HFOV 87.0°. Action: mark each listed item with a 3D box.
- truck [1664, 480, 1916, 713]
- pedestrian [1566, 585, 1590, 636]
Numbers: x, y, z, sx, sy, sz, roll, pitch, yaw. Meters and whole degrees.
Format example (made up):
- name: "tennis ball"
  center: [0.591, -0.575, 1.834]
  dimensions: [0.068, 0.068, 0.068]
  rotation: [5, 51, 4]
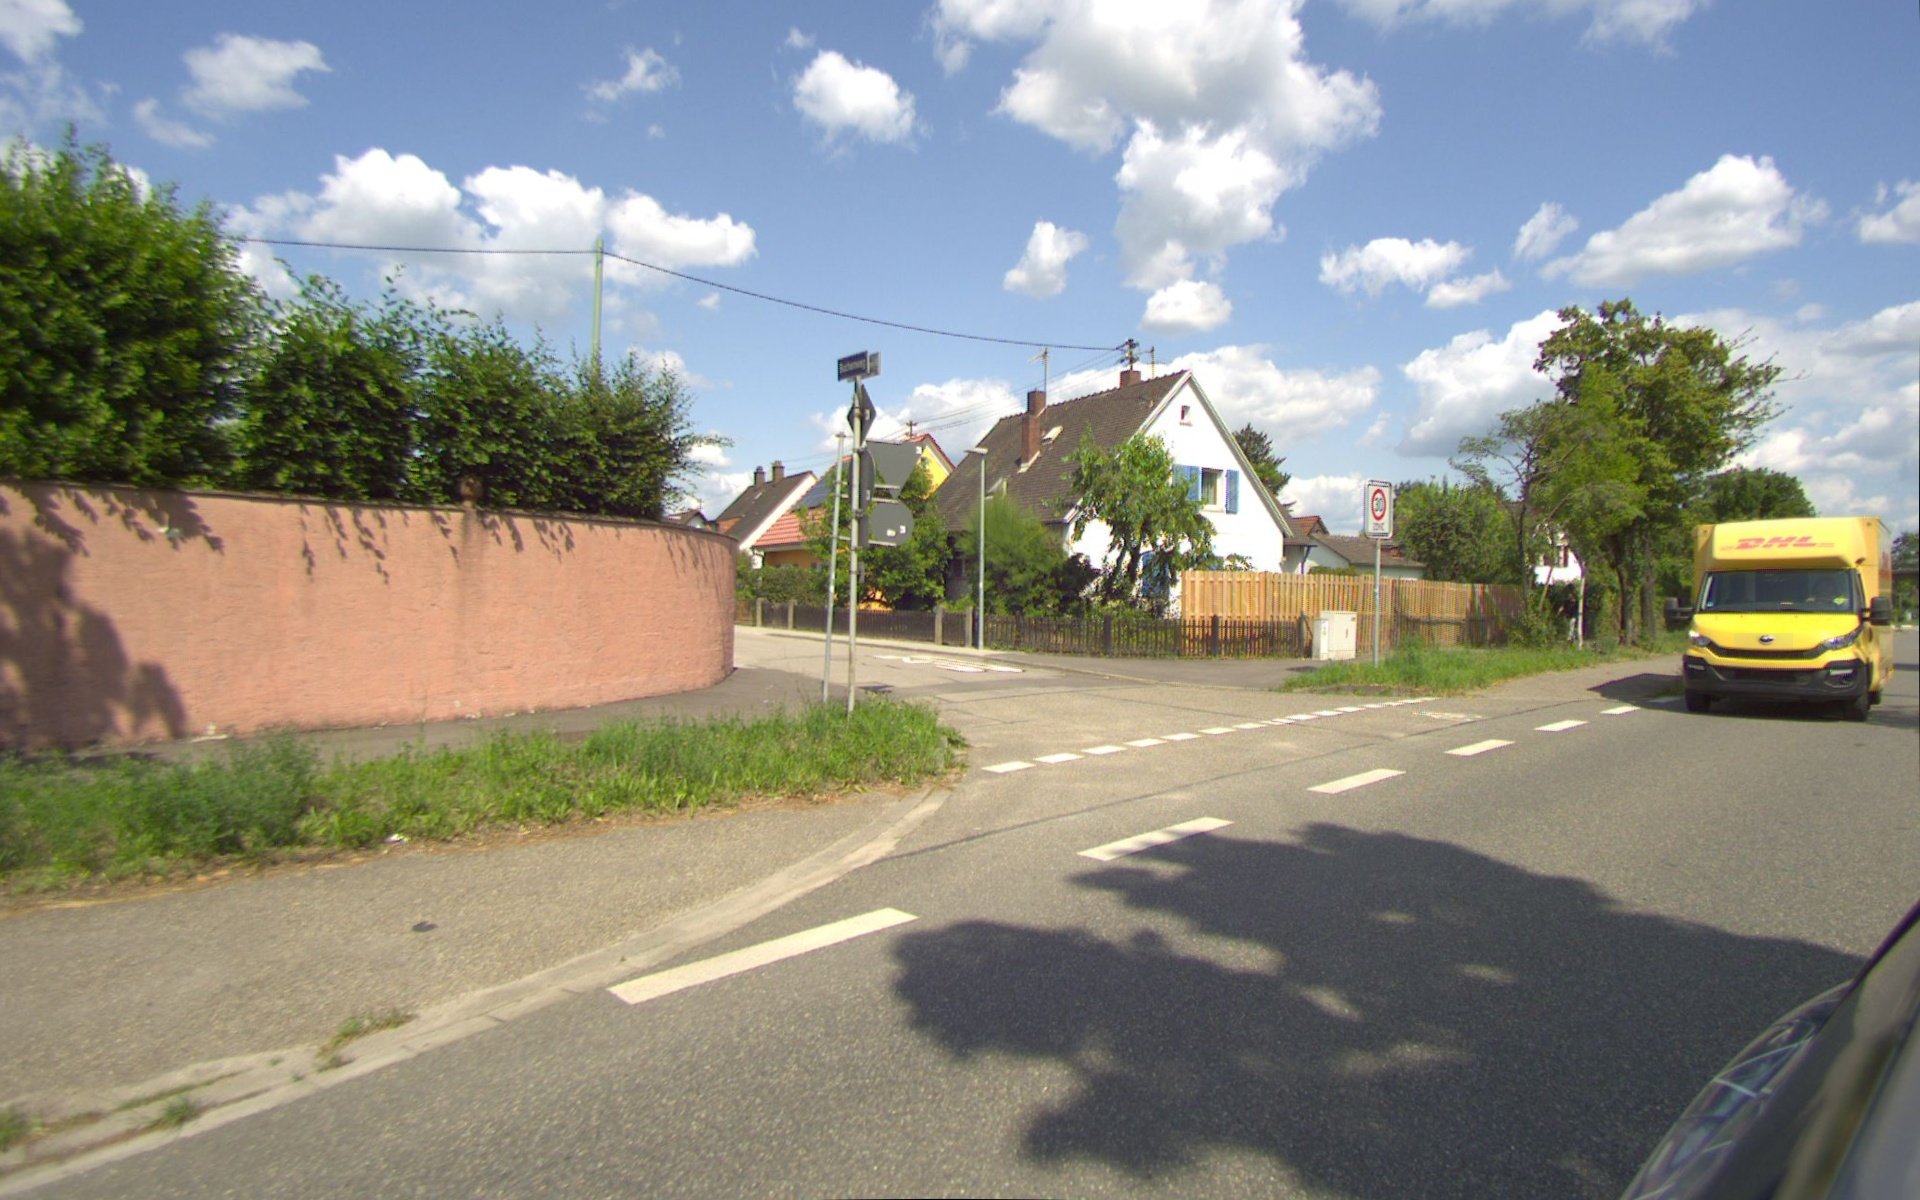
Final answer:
- name: "truck"
  center: [13.571, 0.028, 16.262]
  dimensions: [7.895, 2.918, 2.266]
  rotation: [1, -2, -44]
- name: "pedestrian"
  center: [20.780, 0.346, 34.035]
  dimensions: [0.624, 1.698, 0.560]
  rotation: [1, -1, -44]
